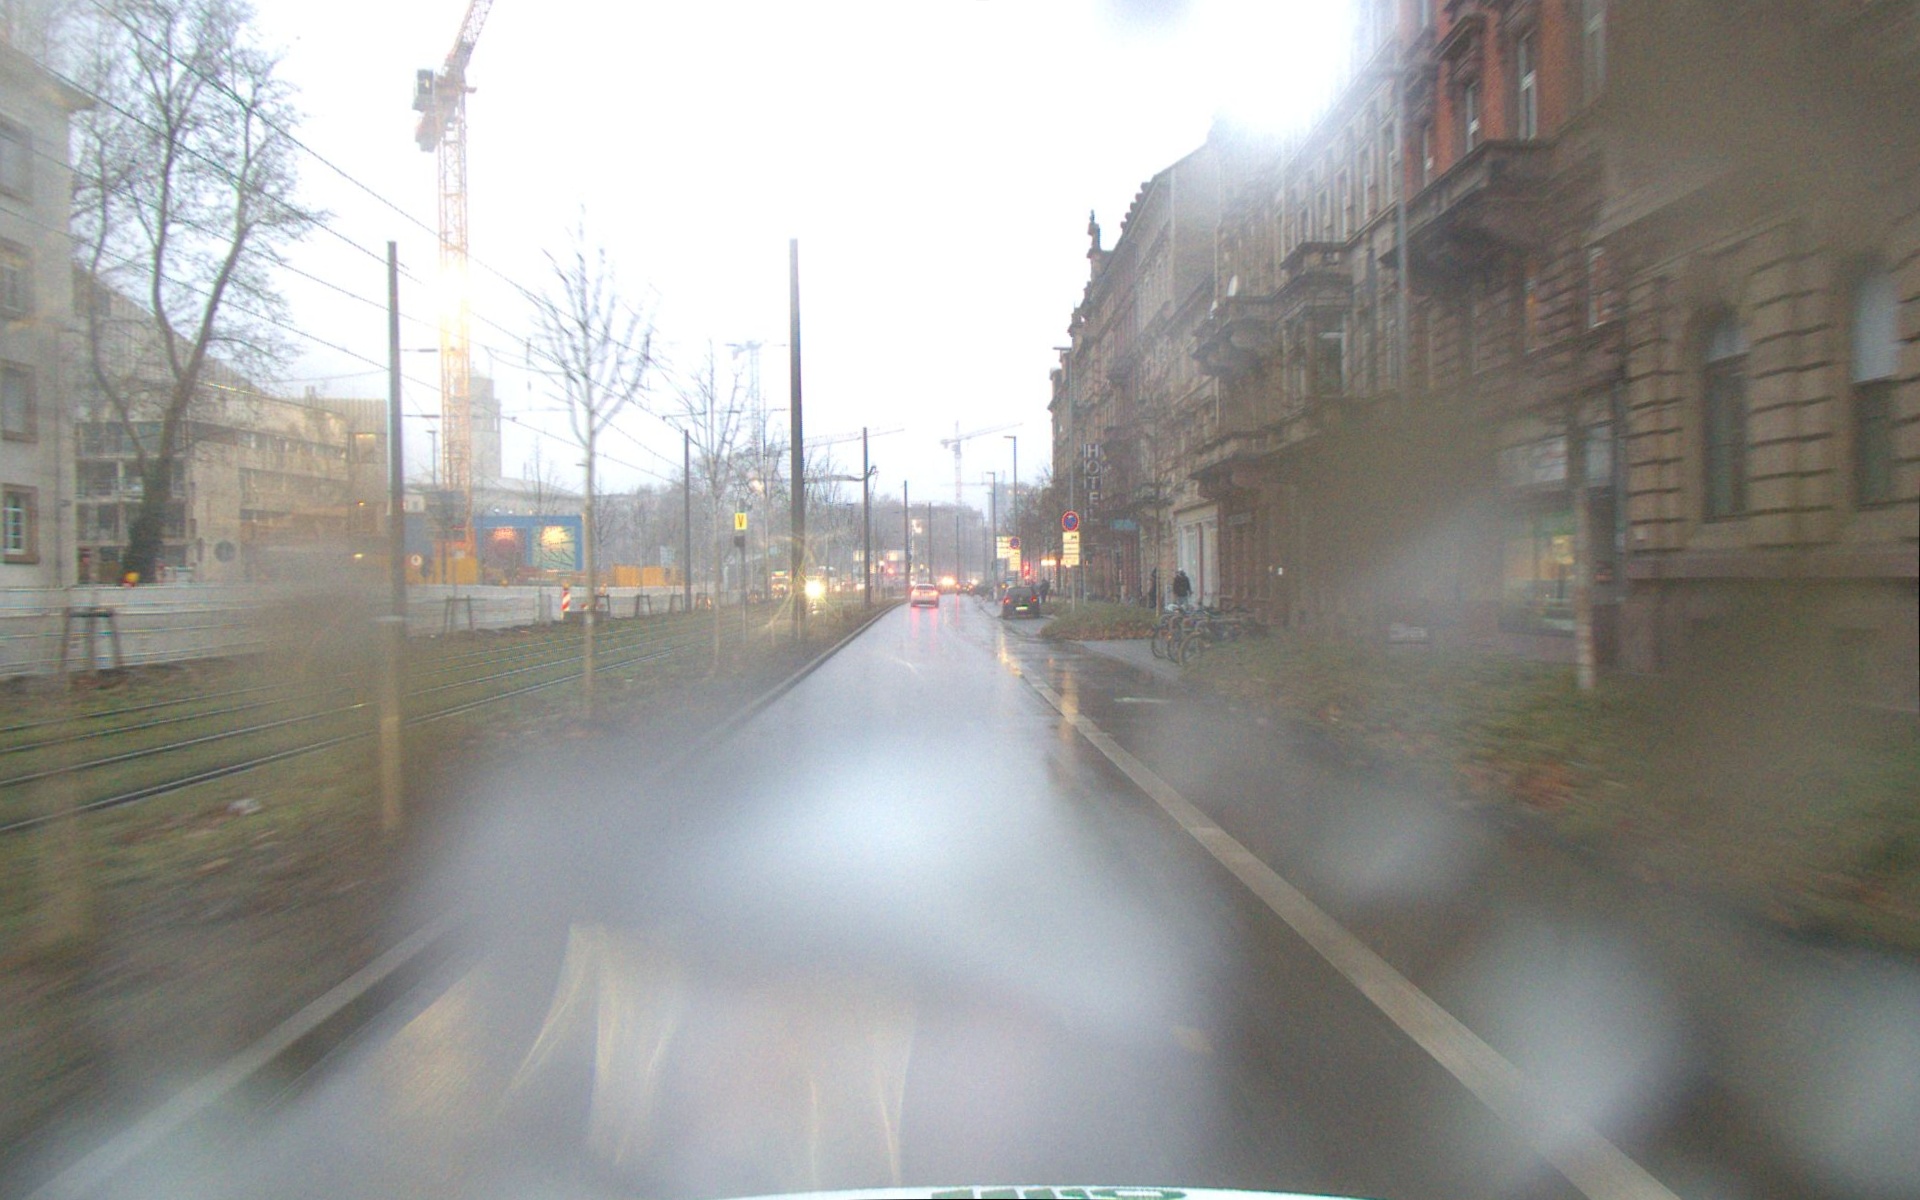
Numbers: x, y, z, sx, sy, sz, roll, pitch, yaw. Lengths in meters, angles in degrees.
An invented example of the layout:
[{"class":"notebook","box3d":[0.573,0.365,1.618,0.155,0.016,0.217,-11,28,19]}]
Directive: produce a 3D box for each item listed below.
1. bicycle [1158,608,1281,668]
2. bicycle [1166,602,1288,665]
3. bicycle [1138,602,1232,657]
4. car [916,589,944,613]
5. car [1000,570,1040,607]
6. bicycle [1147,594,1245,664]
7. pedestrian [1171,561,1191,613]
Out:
[{"class":"bicycle","box3d":[4.854,0.706,30.972,2.204,1.076,0.525,-1,0,-4]},{"class":"bicycle","box3d":[4.813,0.604,29.810,2.106,1.076,0.525,-1,0,-7]},{"class":"bicycle","box3d":[4.582,0.604,33.702,1.814,1.077,0.471,-1,0,-4]},{"class":"car","box3d":[-1.971,0.050,108.404,1.747,1.492,3.149,-1,1,0]},{"class":"car","box3d":[2.736,-0.537,76.271,1.762,1.632,3.770,-1,1,1]},{"class":"bicycle","box3d":[4.579,0.564,32.139,1.814,1.312,0.415,-1,0,-4]},{"class":"pedestrian","box3d":[7.779,-0.462,58.167,0.590,1.817,0.528,-1,0,-1]}]
